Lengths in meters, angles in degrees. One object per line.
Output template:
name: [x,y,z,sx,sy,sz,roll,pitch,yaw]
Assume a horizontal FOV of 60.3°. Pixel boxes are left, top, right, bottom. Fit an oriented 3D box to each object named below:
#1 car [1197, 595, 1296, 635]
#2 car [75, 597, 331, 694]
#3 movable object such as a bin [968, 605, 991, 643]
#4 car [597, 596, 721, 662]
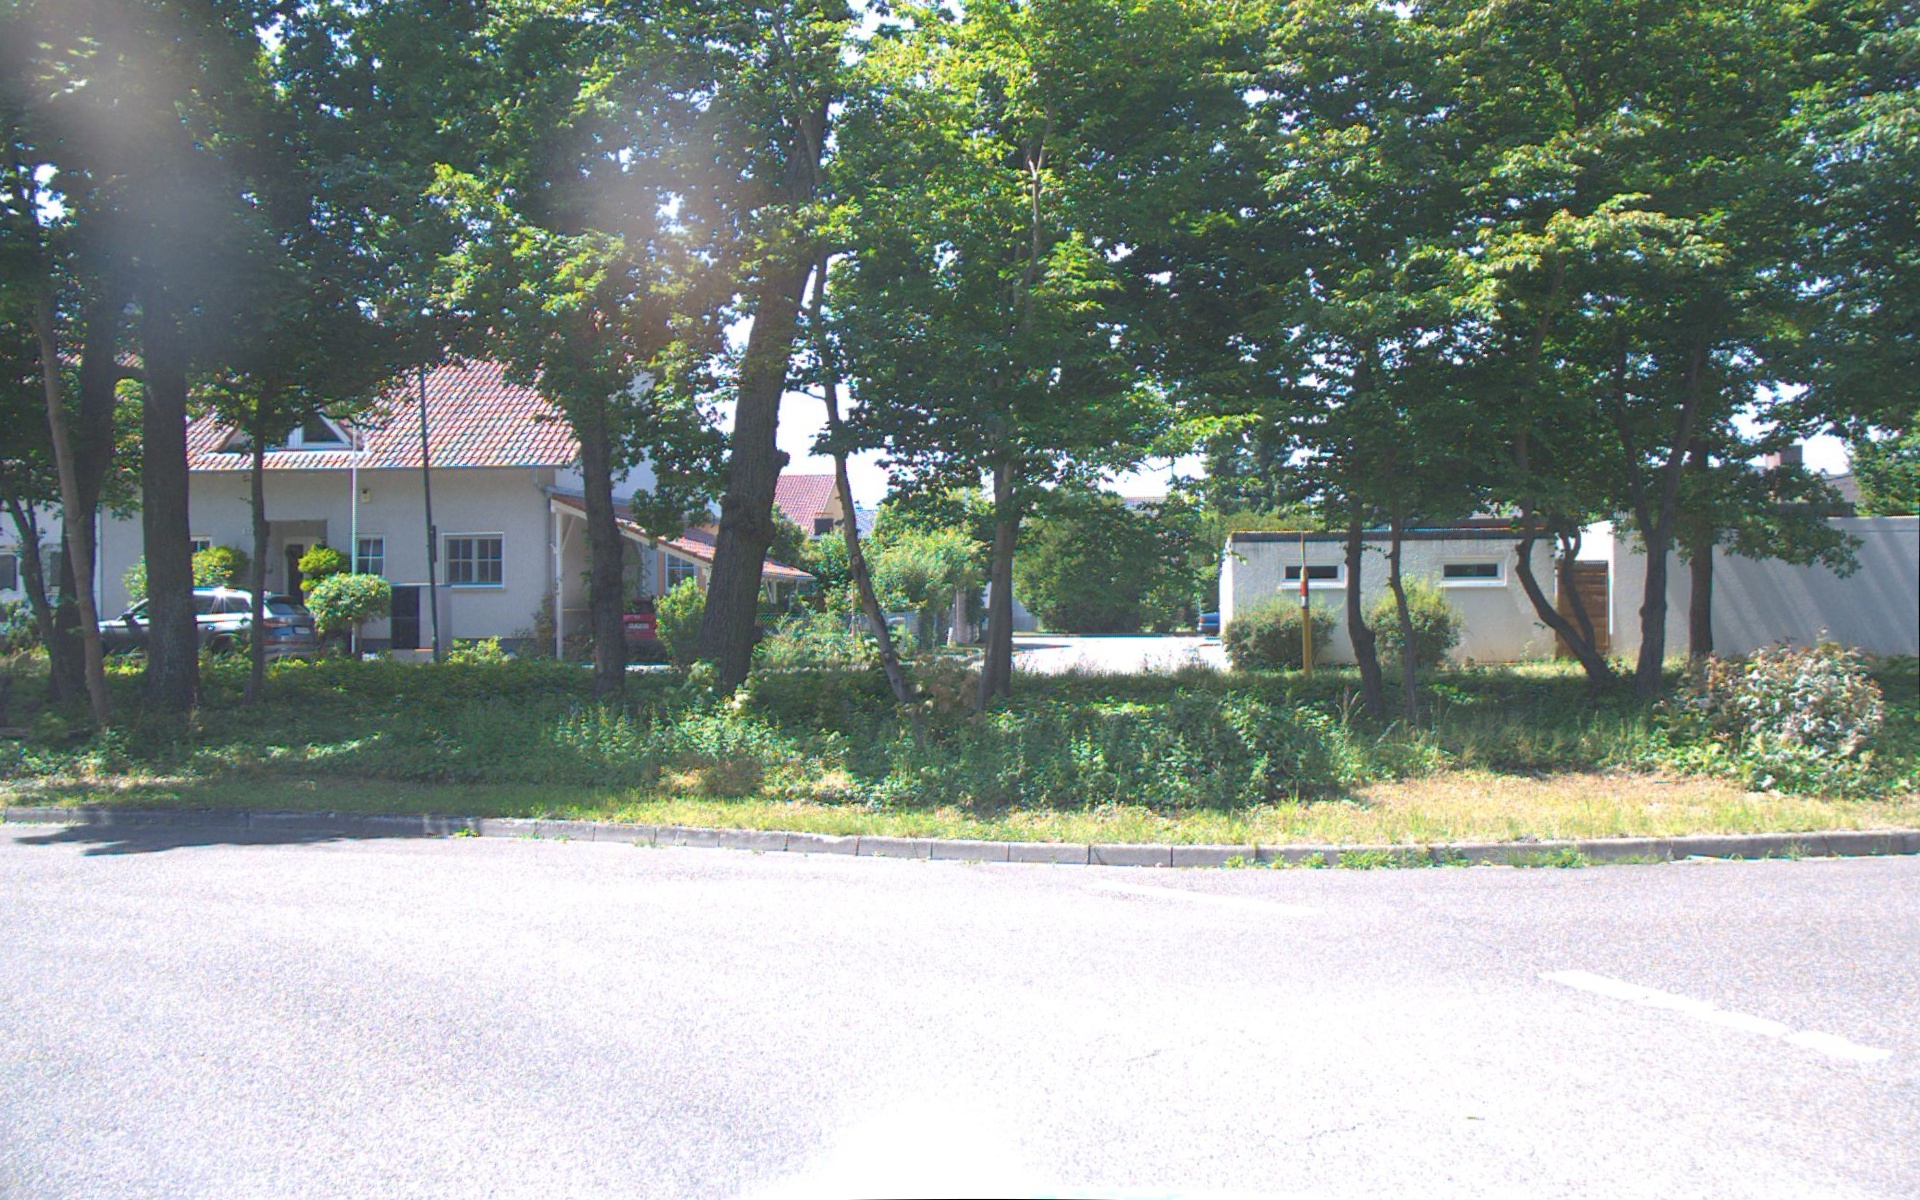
car: [9.650,0.497,55.861,3.199,1.275,1.574,-1,0,5]
car: [-14.078,0.826,30.859,4.042,1.735,1.667,0,0,5]
movable object such as a bin: [0.576,0.719,49.590,0.643,1.132,0.457,-1,0,5]
car: [-6.782,0.622,37.607,1.643,1.409,3.697,0,0,9]
